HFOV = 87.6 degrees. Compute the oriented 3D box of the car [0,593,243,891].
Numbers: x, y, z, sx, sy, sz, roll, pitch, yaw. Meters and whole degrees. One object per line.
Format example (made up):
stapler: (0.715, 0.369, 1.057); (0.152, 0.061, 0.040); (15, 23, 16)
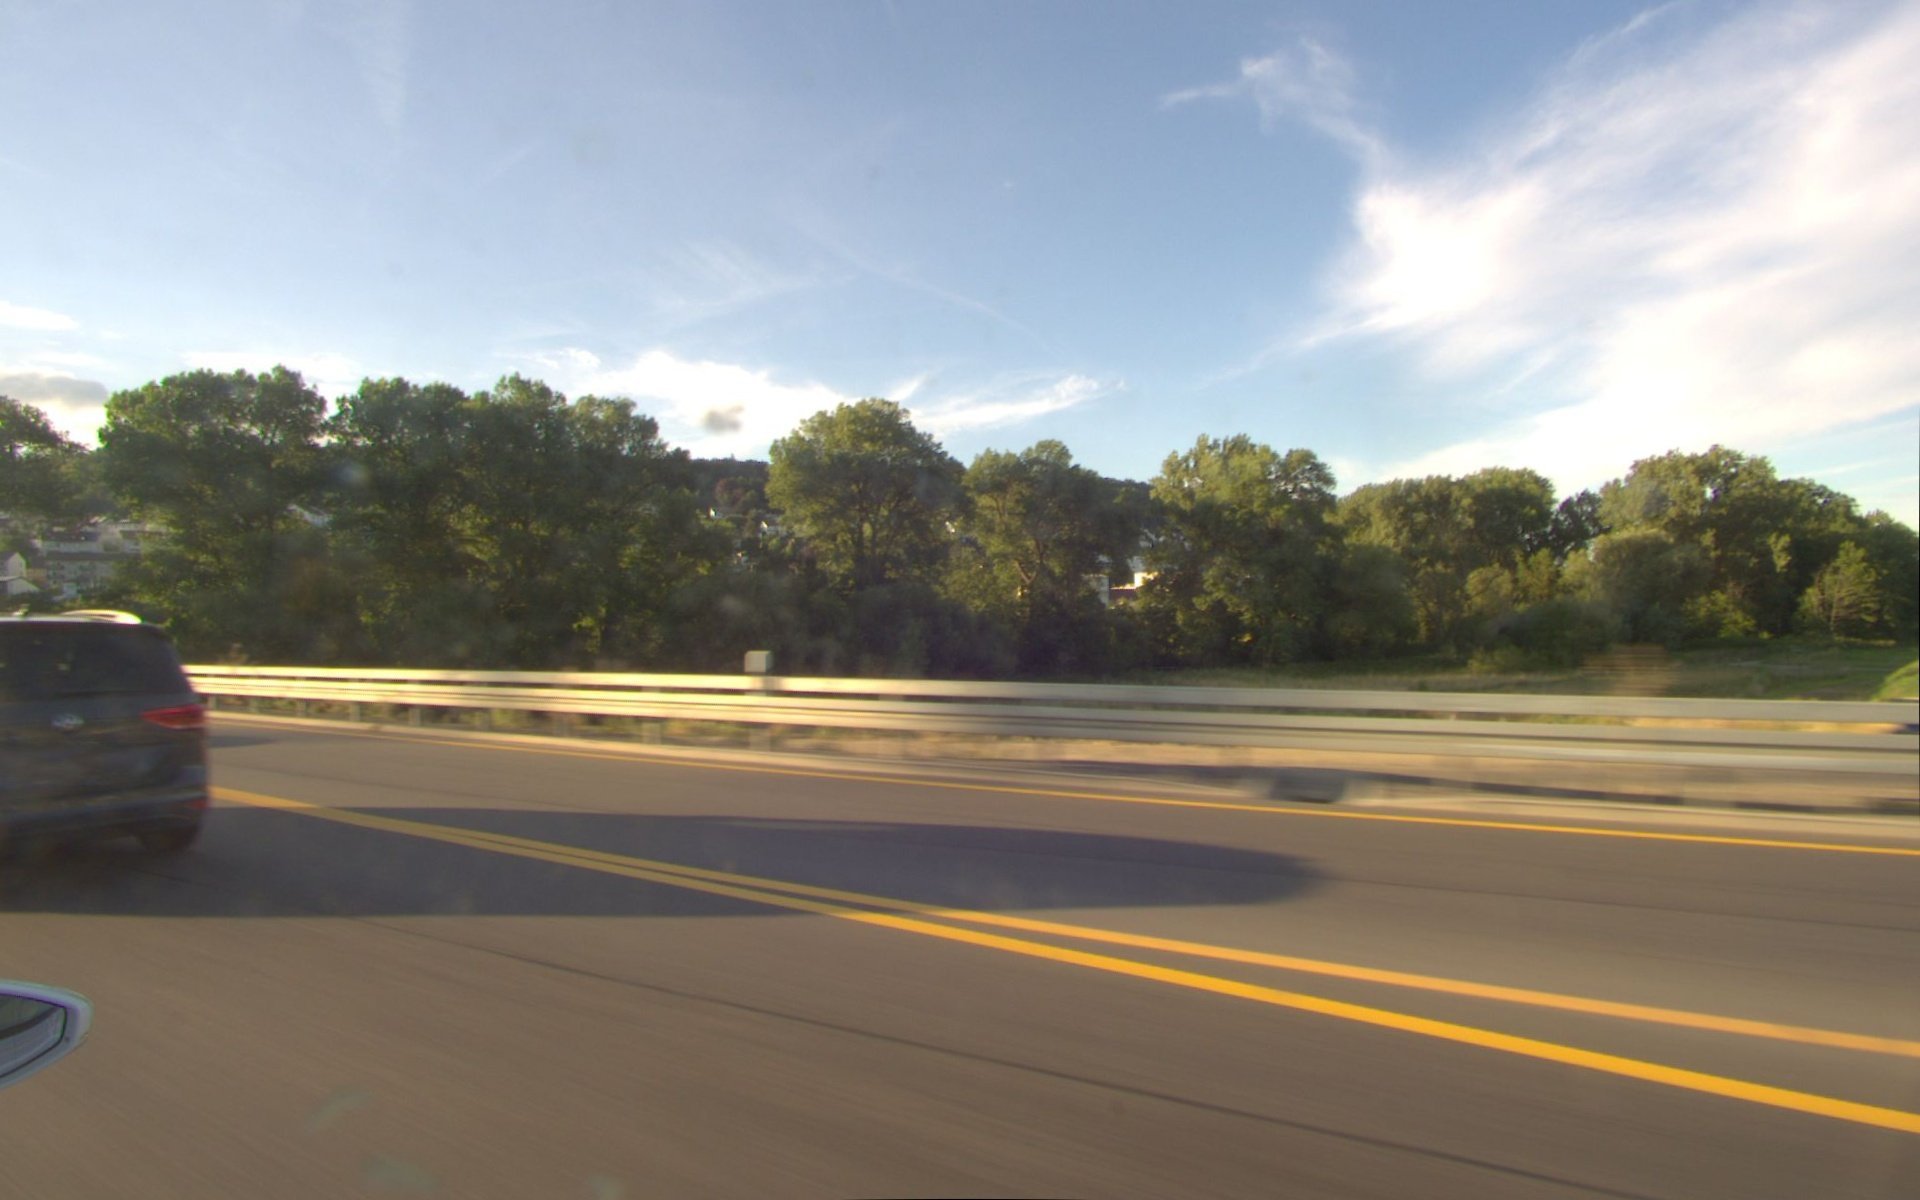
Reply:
car: (-7.048, 0.874, 6.911); (4.461, 1.635, 1.811); (-2, -4, 32)
